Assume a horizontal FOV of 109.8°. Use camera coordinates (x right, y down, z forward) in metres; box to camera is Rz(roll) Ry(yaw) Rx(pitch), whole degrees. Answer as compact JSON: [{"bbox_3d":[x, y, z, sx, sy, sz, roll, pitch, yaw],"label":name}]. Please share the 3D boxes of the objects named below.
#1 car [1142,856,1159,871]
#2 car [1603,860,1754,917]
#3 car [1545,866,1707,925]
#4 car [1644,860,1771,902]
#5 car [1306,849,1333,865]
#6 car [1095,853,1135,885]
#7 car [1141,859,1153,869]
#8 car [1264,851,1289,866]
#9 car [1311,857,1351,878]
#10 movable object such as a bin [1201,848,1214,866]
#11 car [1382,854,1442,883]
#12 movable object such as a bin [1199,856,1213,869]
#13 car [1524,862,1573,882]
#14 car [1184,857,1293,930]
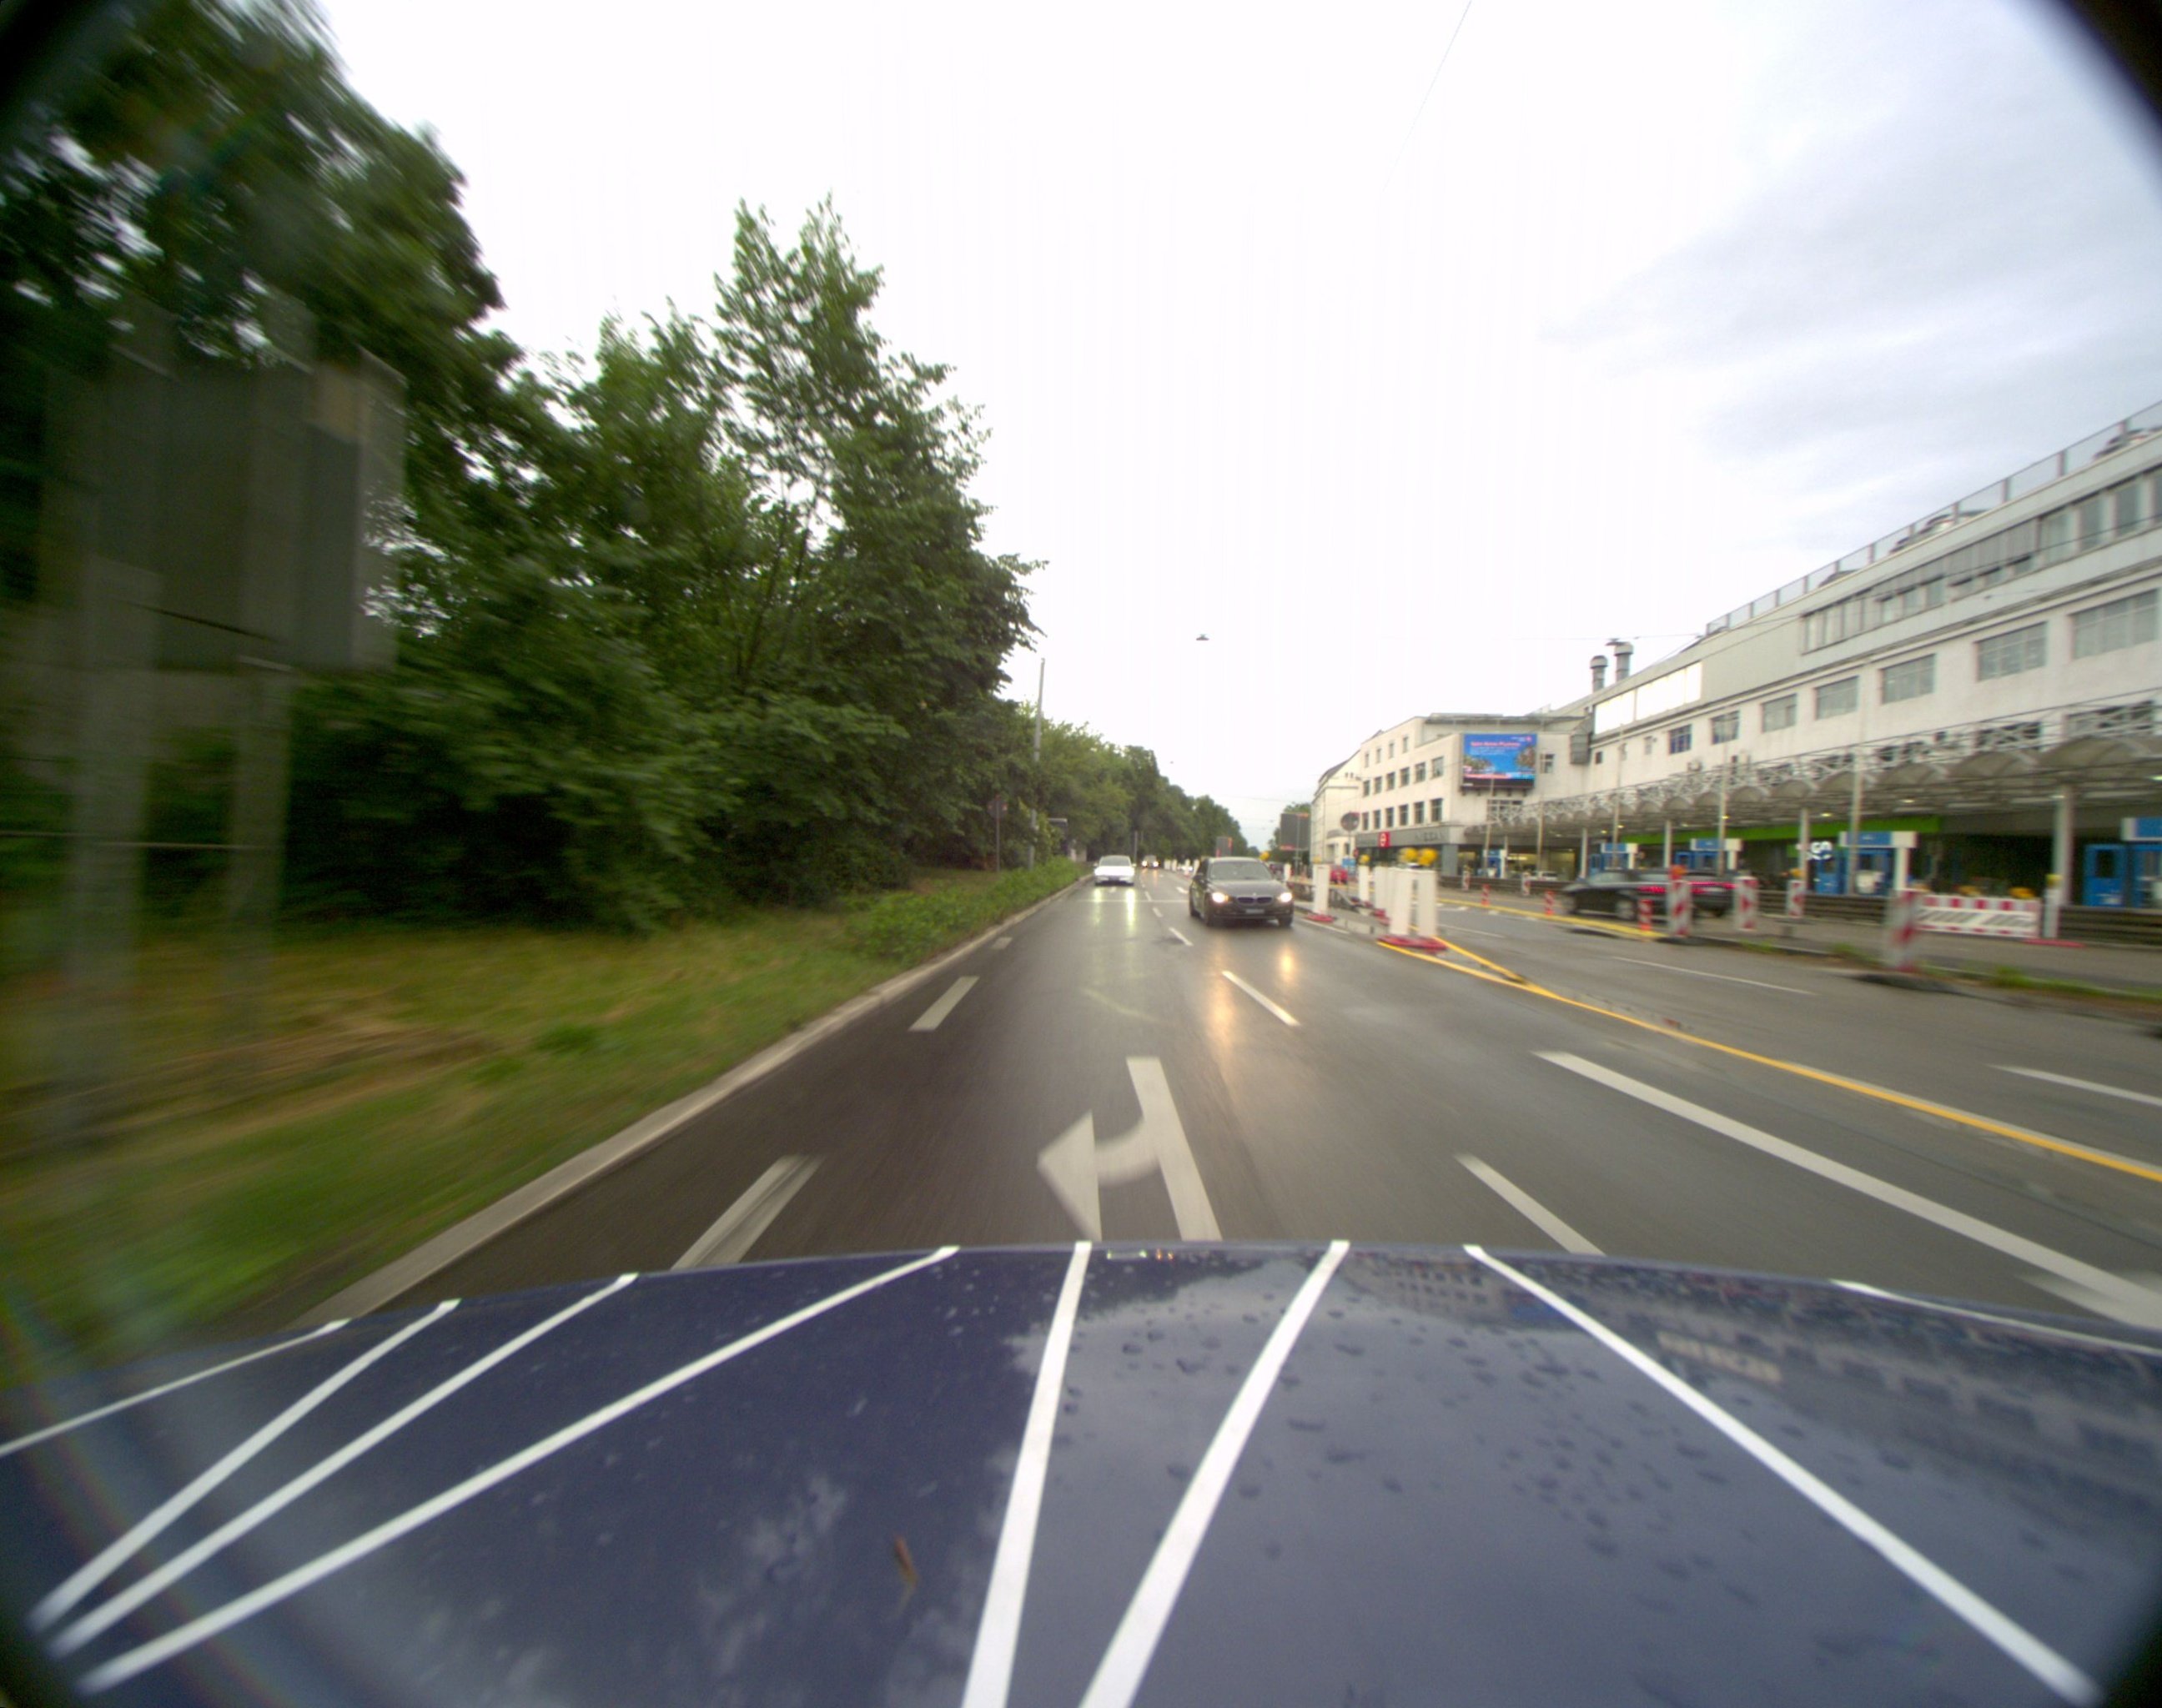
[{"bbox_3d":[8.714,1.112,95.432,1.997,1.740,4.002,3,0,6],"label":"car"},{"bbox_3d":[19.132,1.044,24.585,1.756,1.505,4.000,3,1,3],"label":"car"},{"bbox_3d":[15.141,1.078,21.412,1.693,1.346,4.115,3,0,3],"label":"car"},{"bbox_3d":[30.061,1.256,36.536,4.465,1.669,2.019,4,1,45],"label":"car"},{"bbox_3d":[24.560,0.264,78.455,1.714,1.527,4.079,3,0,4],"label":"car"},{"bbox_3d":[1.700,0.707,37.509,1.839,1.424,4.274,1,0,3],"label":"car"},{"bbox_3d":[10.546,1.567,121.336,1.741,1.477,3.920,-1,0,6],"label":"car"},{"bbox_3d":[21.662,0.482,84.373,1.963,1.512,4.301,2,0,4],"label":"car"},{"bbox_3d":[18.191,0.985,55.461,1.739,1.396,4.290,1,0,4],"label":"car"},{"bbox_3d":[21.650,0.580,130.134,1.824,2.895,3.611,3,0,12],"label":"movable object such as a bin"},{"bbox_3d":[21.303,0.890,49.094,1.984,1.697,4.832,2,0,4],"label":"car"},{"bbox_3d":[20.576,1.383,124.729,1.996,2.099,3.854,3,0,12],"label":"movable object such as a bin"},{"bbox_3d":[37.948,1.451,61.752,1.816,1.474,3.969,3,0,6],"label":"car"},{"bbox_3d":[3.431,0.786,17.246,1.763,1.441,4.178,0,0,2],"label":"car"}]
